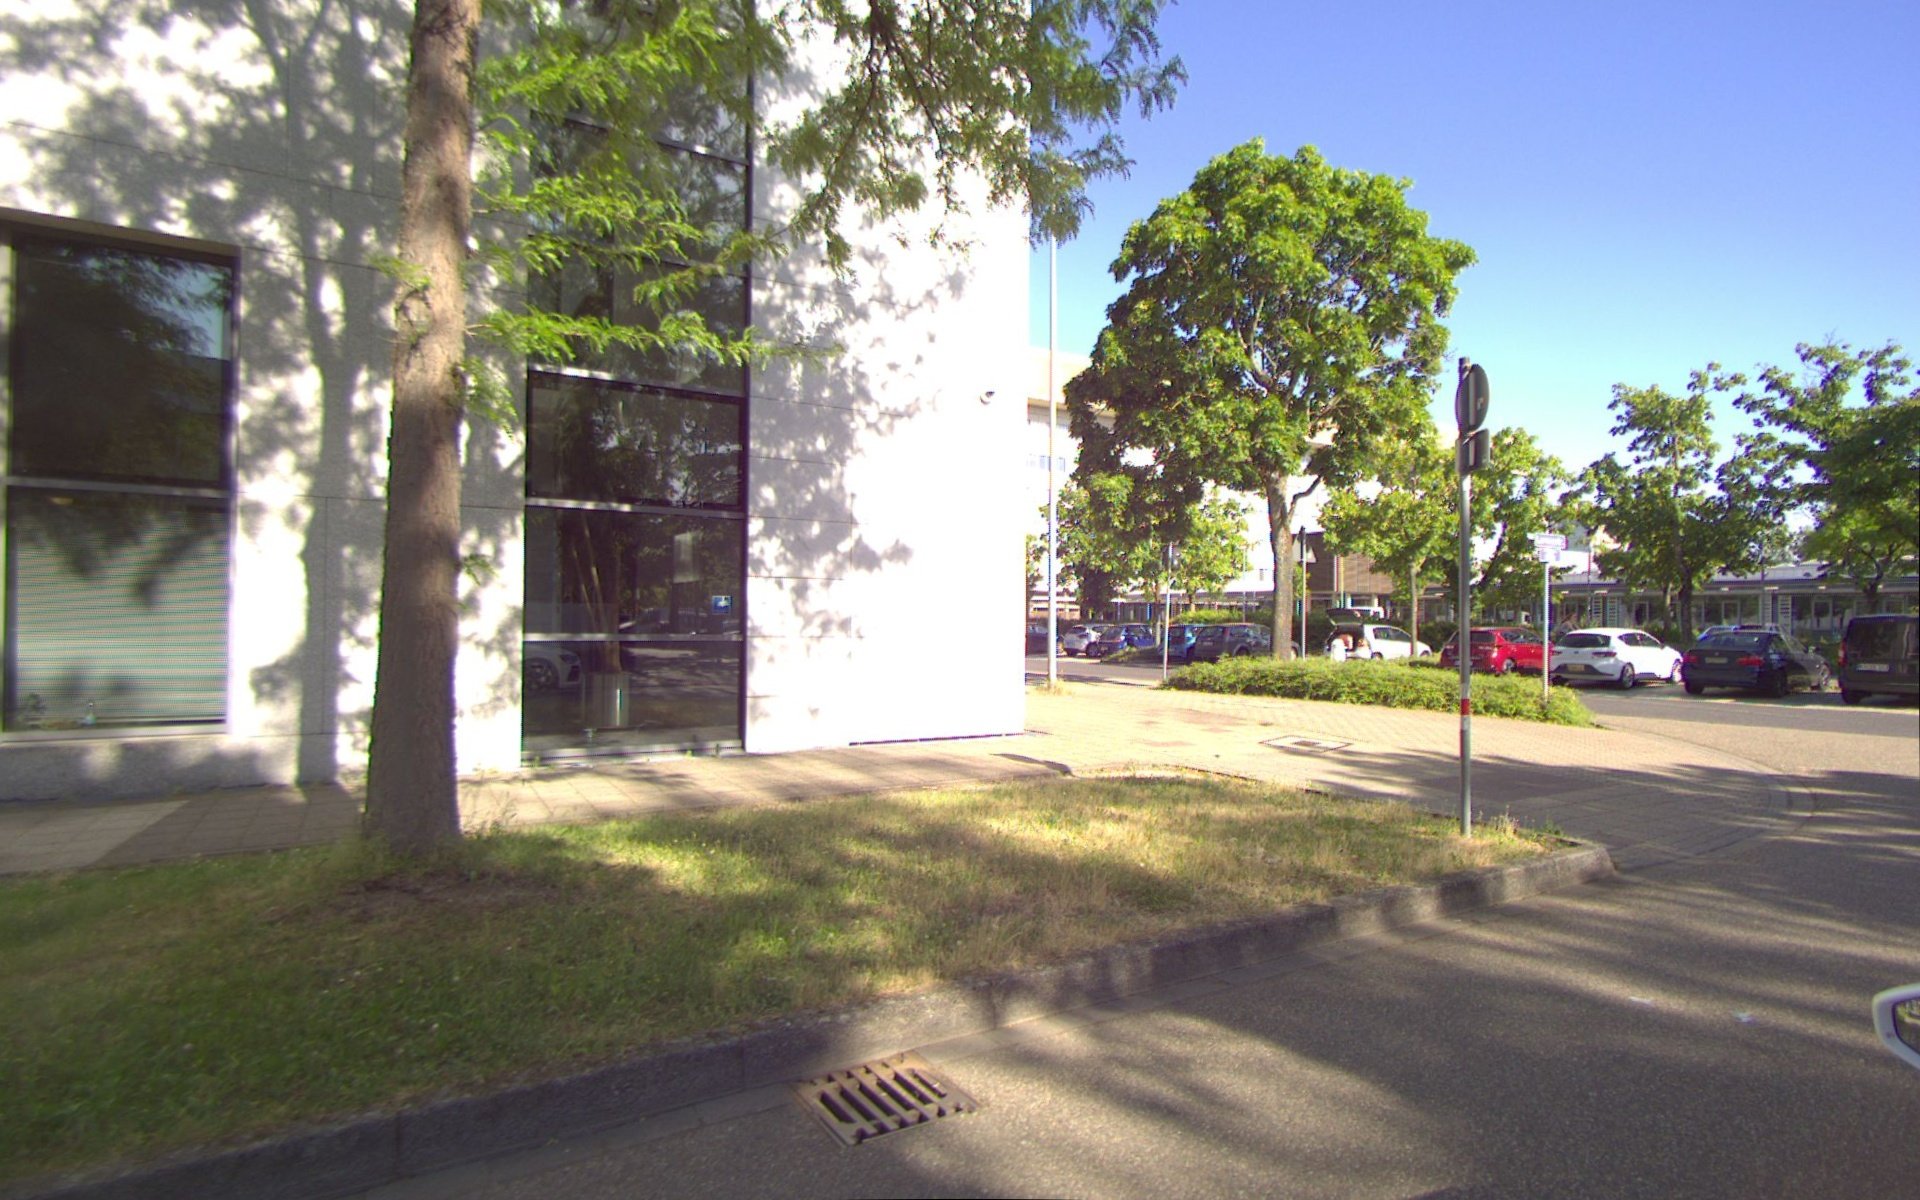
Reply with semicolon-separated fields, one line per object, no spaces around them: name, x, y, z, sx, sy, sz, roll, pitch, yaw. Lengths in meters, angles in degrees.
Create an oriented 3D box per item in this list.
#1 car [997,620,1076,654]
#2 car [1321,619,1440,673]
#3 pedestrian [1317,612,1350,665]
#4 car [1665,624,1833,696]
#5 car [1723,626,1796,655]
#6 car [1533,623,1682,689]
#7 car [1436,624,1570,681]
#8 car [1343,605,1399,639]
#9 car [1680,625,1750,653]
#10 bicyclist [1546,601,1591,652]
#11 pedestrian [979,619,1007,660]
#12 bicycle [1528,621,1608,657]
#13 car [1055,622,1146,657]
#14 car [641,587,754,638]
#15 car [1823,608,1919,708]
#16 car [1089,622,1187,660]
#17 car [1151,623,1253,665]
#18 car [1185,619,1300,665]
car;3.637;1.753;47.689;3.426;1.508;1.731;0;-1;-33
car;13.612;1.451;32.497;3.870;1.599;1.664;1;0;-33
pedestrian;11.617;1.196;31.268;0.752;1.600;0.673;1;0;-2
car;18.160;1.320;23.074;4.123;1.425;1.813;0;-1;-33
car;44.425;2.209;55.811;3.860;1.517;1.828;0;-1;-29
car;16.569;1.374;25.660;3.869;1.456;1.792;-1;0;-33
car;15.259;1.428;28.161;3.870;1.445;1.657;1;0;-33
car;31.393;1.656;76.674;3.601;2.524;2.216;0;-1;-29
car;43.284;2.192;57.586;3.860;1.517;1.828;0;-1;-29
bicyclist;18.634;0.795;30.790;0.589;1.544;1.006;1;0;-31
pedestrian;1.454;1.773;44.867;0.713;1.795;1.158;-1;-1;-32
bicycle;18.624;1.180;30.801;0.589;1.009;2.072;1;0;-30
car;6.254;1.725;44.587;3.700;1.435;1.828;0;-1;-30
car;-13.998;0.705;53.651;5.503;2.441;1.972;3;-2;-29
car;19.699;1.115;20.590;4.120;1.871;1.864;-1;0;-31
car;7.531;1.688;42.429;3.861;1.517;1.828;0;-1;-30
car;9.276;1.638;38.422;3.870;1.487;1.607;1;0;-33
car;10.241;1.468;36.315;4.154;1.540;1.721;0;-1;-33
